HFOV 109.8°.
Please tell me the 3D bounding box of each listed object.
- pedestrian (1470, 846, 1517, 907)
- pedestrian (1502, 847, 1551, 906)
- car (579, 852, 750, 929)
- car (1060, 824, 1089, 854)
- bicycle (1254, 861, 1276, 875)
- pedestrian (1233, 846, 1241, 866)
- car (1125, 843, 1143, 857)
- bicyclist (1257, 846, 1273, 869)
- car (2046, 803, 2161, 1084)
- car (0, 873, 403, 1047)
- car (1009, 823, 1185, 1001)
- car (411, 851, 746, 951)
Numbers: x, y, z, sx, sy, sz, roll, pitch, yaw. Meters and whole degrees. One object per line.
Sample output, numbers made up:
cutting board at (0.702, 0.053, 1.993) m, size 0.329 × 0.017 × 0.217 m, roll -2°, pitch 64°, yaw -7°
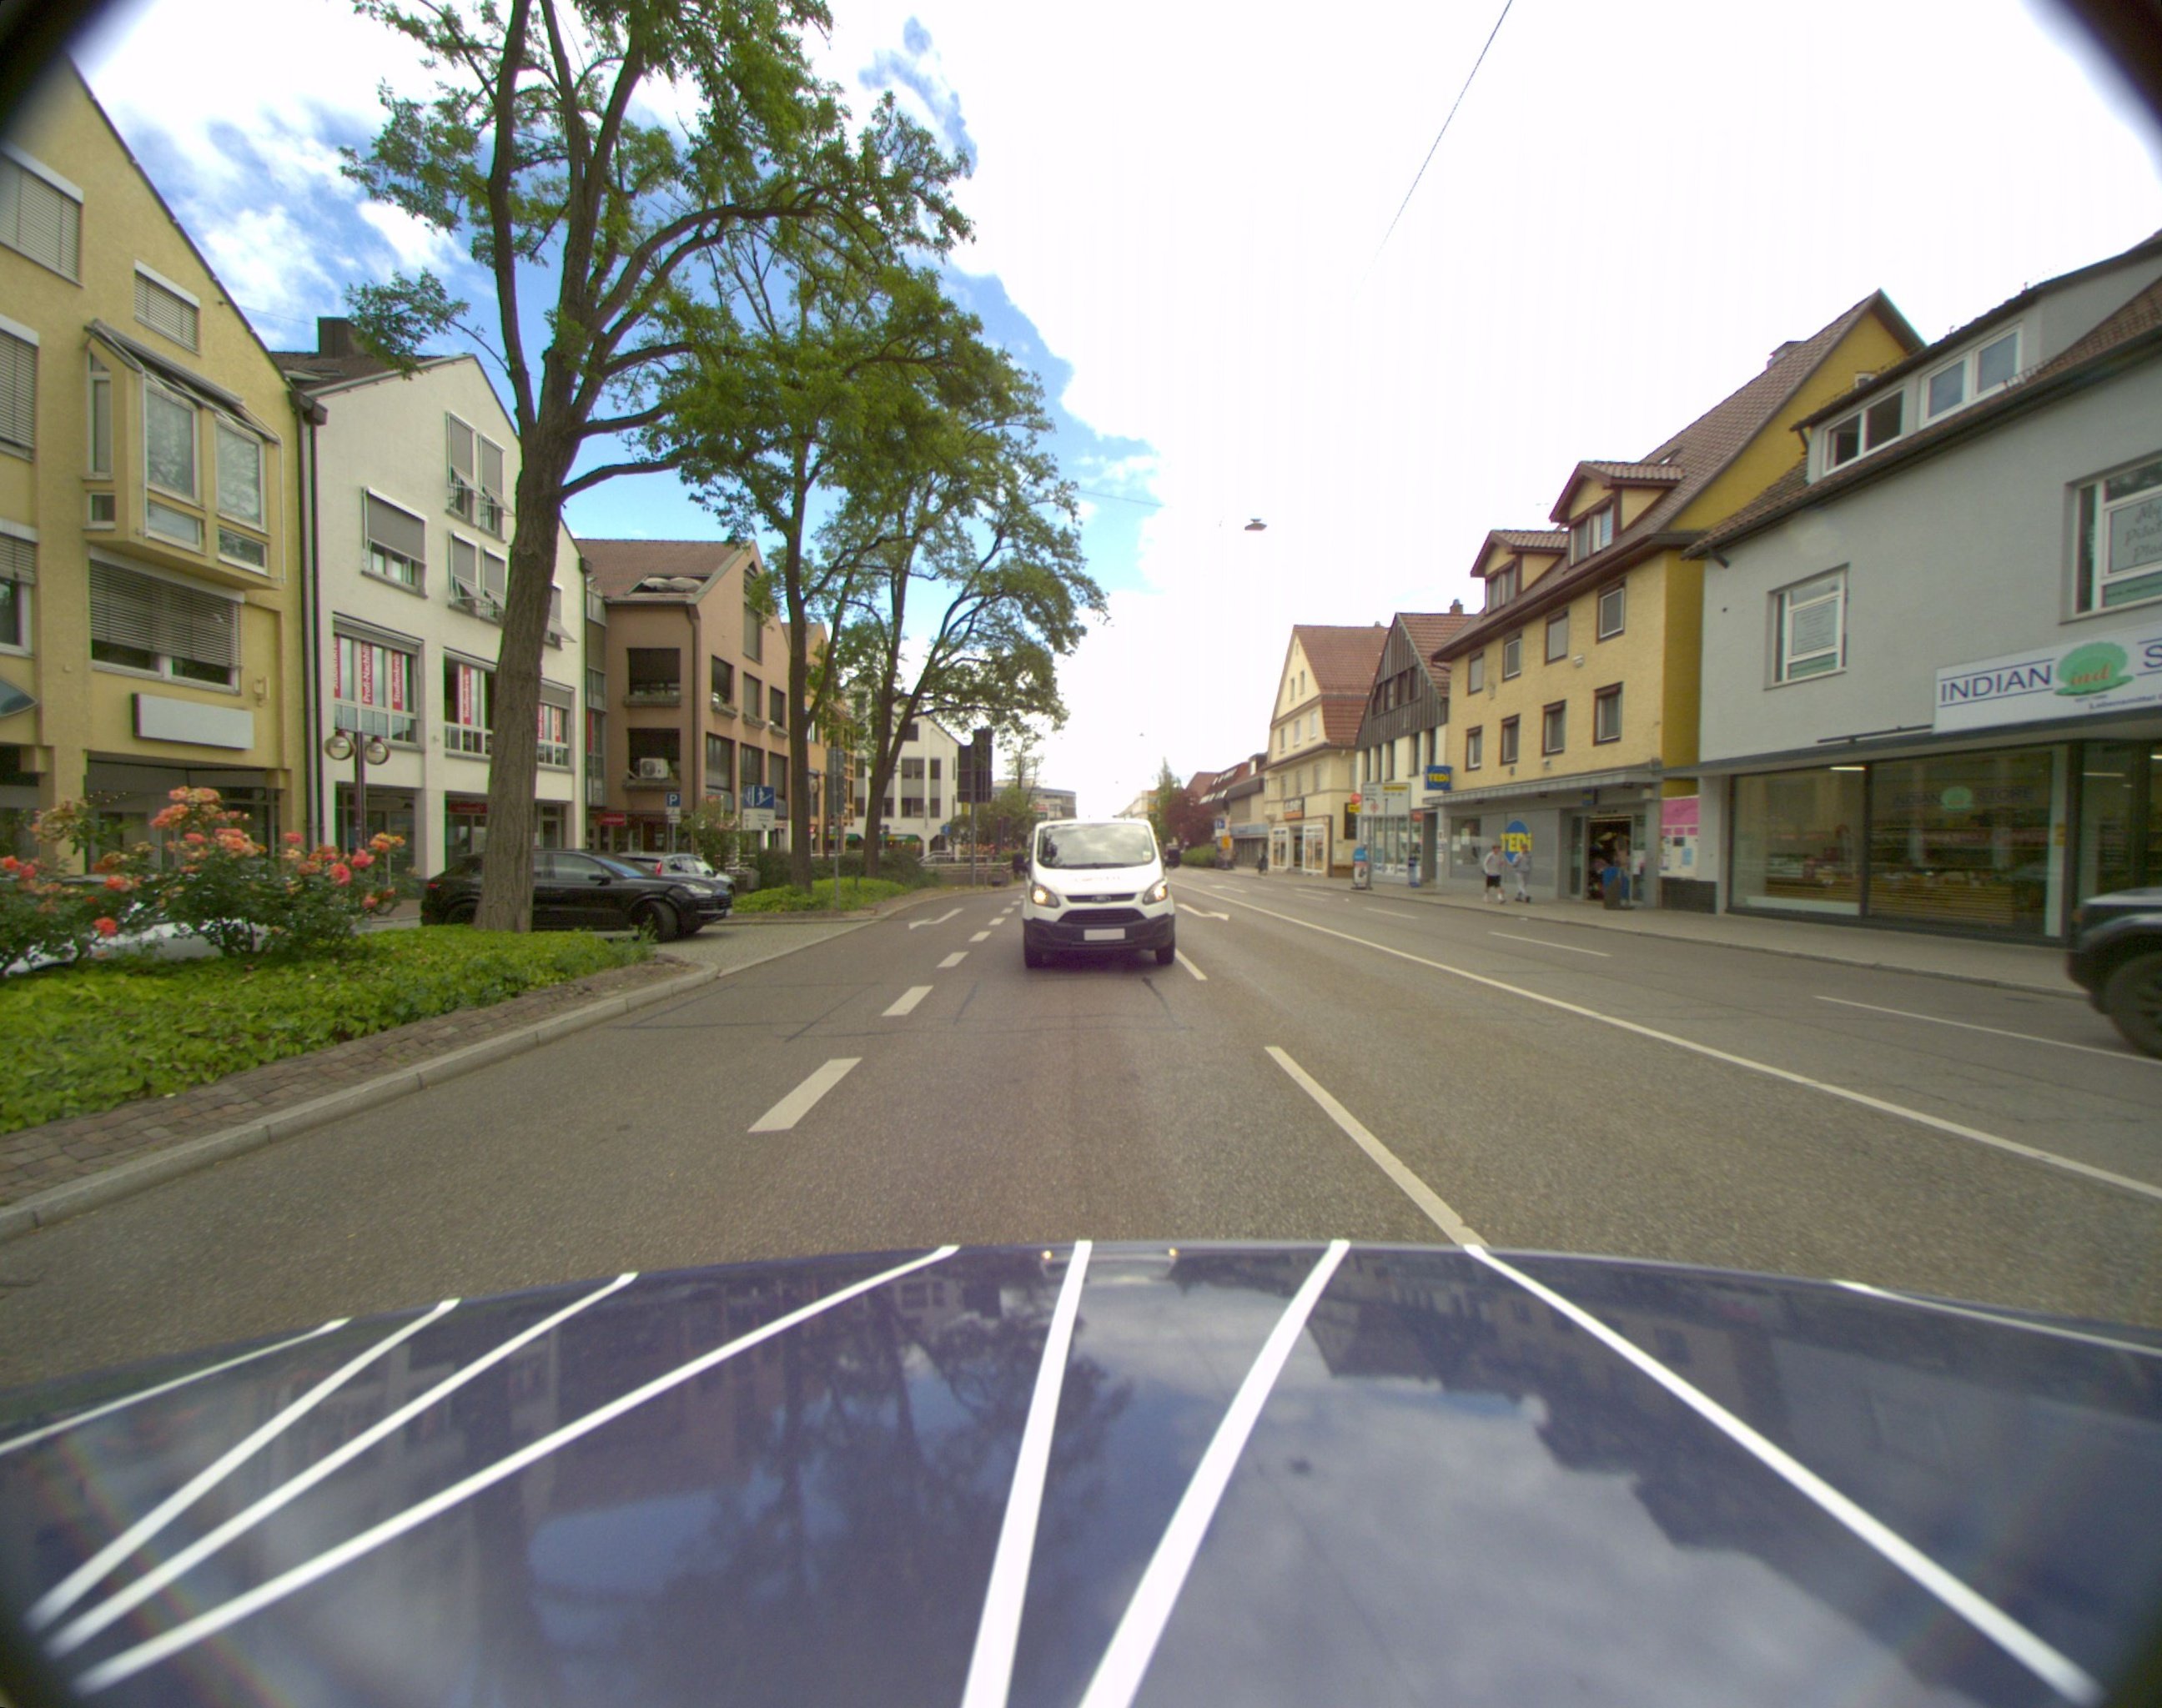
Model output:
pedestrian at (11.379, 0.611, 20.989) m, size 0.812 × 1.651 × 0.920 m, roll 0°, pitch 1°, yaw 1°
pedestrian at (12.276, 0.607, 20.953) m, size 0.812 × 1.574 × 0.920 m, roll 0°, pitch 1°, yaw 1°
car at (-10.459, 0.827, 19.565) m, size 1.999 × 1.645 × 4.751 m, roll 1°, pitch 1°, yaw -3°
car at (-0.437, -1.055, 53.920) m, size 1.940 × 1.968 × 5.779 m, roll -2°, pitch 1°, yaw 0°
bicycle at (11.263, 0.839, 46.657) m, size 0.773 × 0.818 × 2.239 m, roll 0°, pitch 1°, yaw -1°
pedestrian at (15.060, 0.209, 73.315) m, size 0.673 × 1.891 × 0.678 m, roll 0°, pitch 1°, yaw 0°
car at (6.778, -0.545, 97.825) m, size 1.928 × 1.766 × 4.769 m, roll 2°, pitch 1°, yaw -1°
bicyclist at (11.276, 0.212, 46.648) m, size 0.773 × 1.415 × 0.752 m, roll 0°, pitch 1°, yaw -1°
car at (8.529, 0.661, 3.530) m, size 1.928 × 1.957 × 4.769 m, roll 2°, pitch 1°, yaw -1°
car at (-10.390, 0.980, 8.299) m, size 1.843 × 1.302 × 4.752 m, roll 1°, pitch 1°, yaw -2°
car at (0.184, 0.635, 11.484) m, size 1.940 × 1.968 × 5.779 m, roll -2°, pitch 1°, yaw 0°
car at (-9.004, 0.839, 14.101) m, size 4.755 × 1.669 × 1.998 m, roll 1°, pitch 0°, yaw -11°
